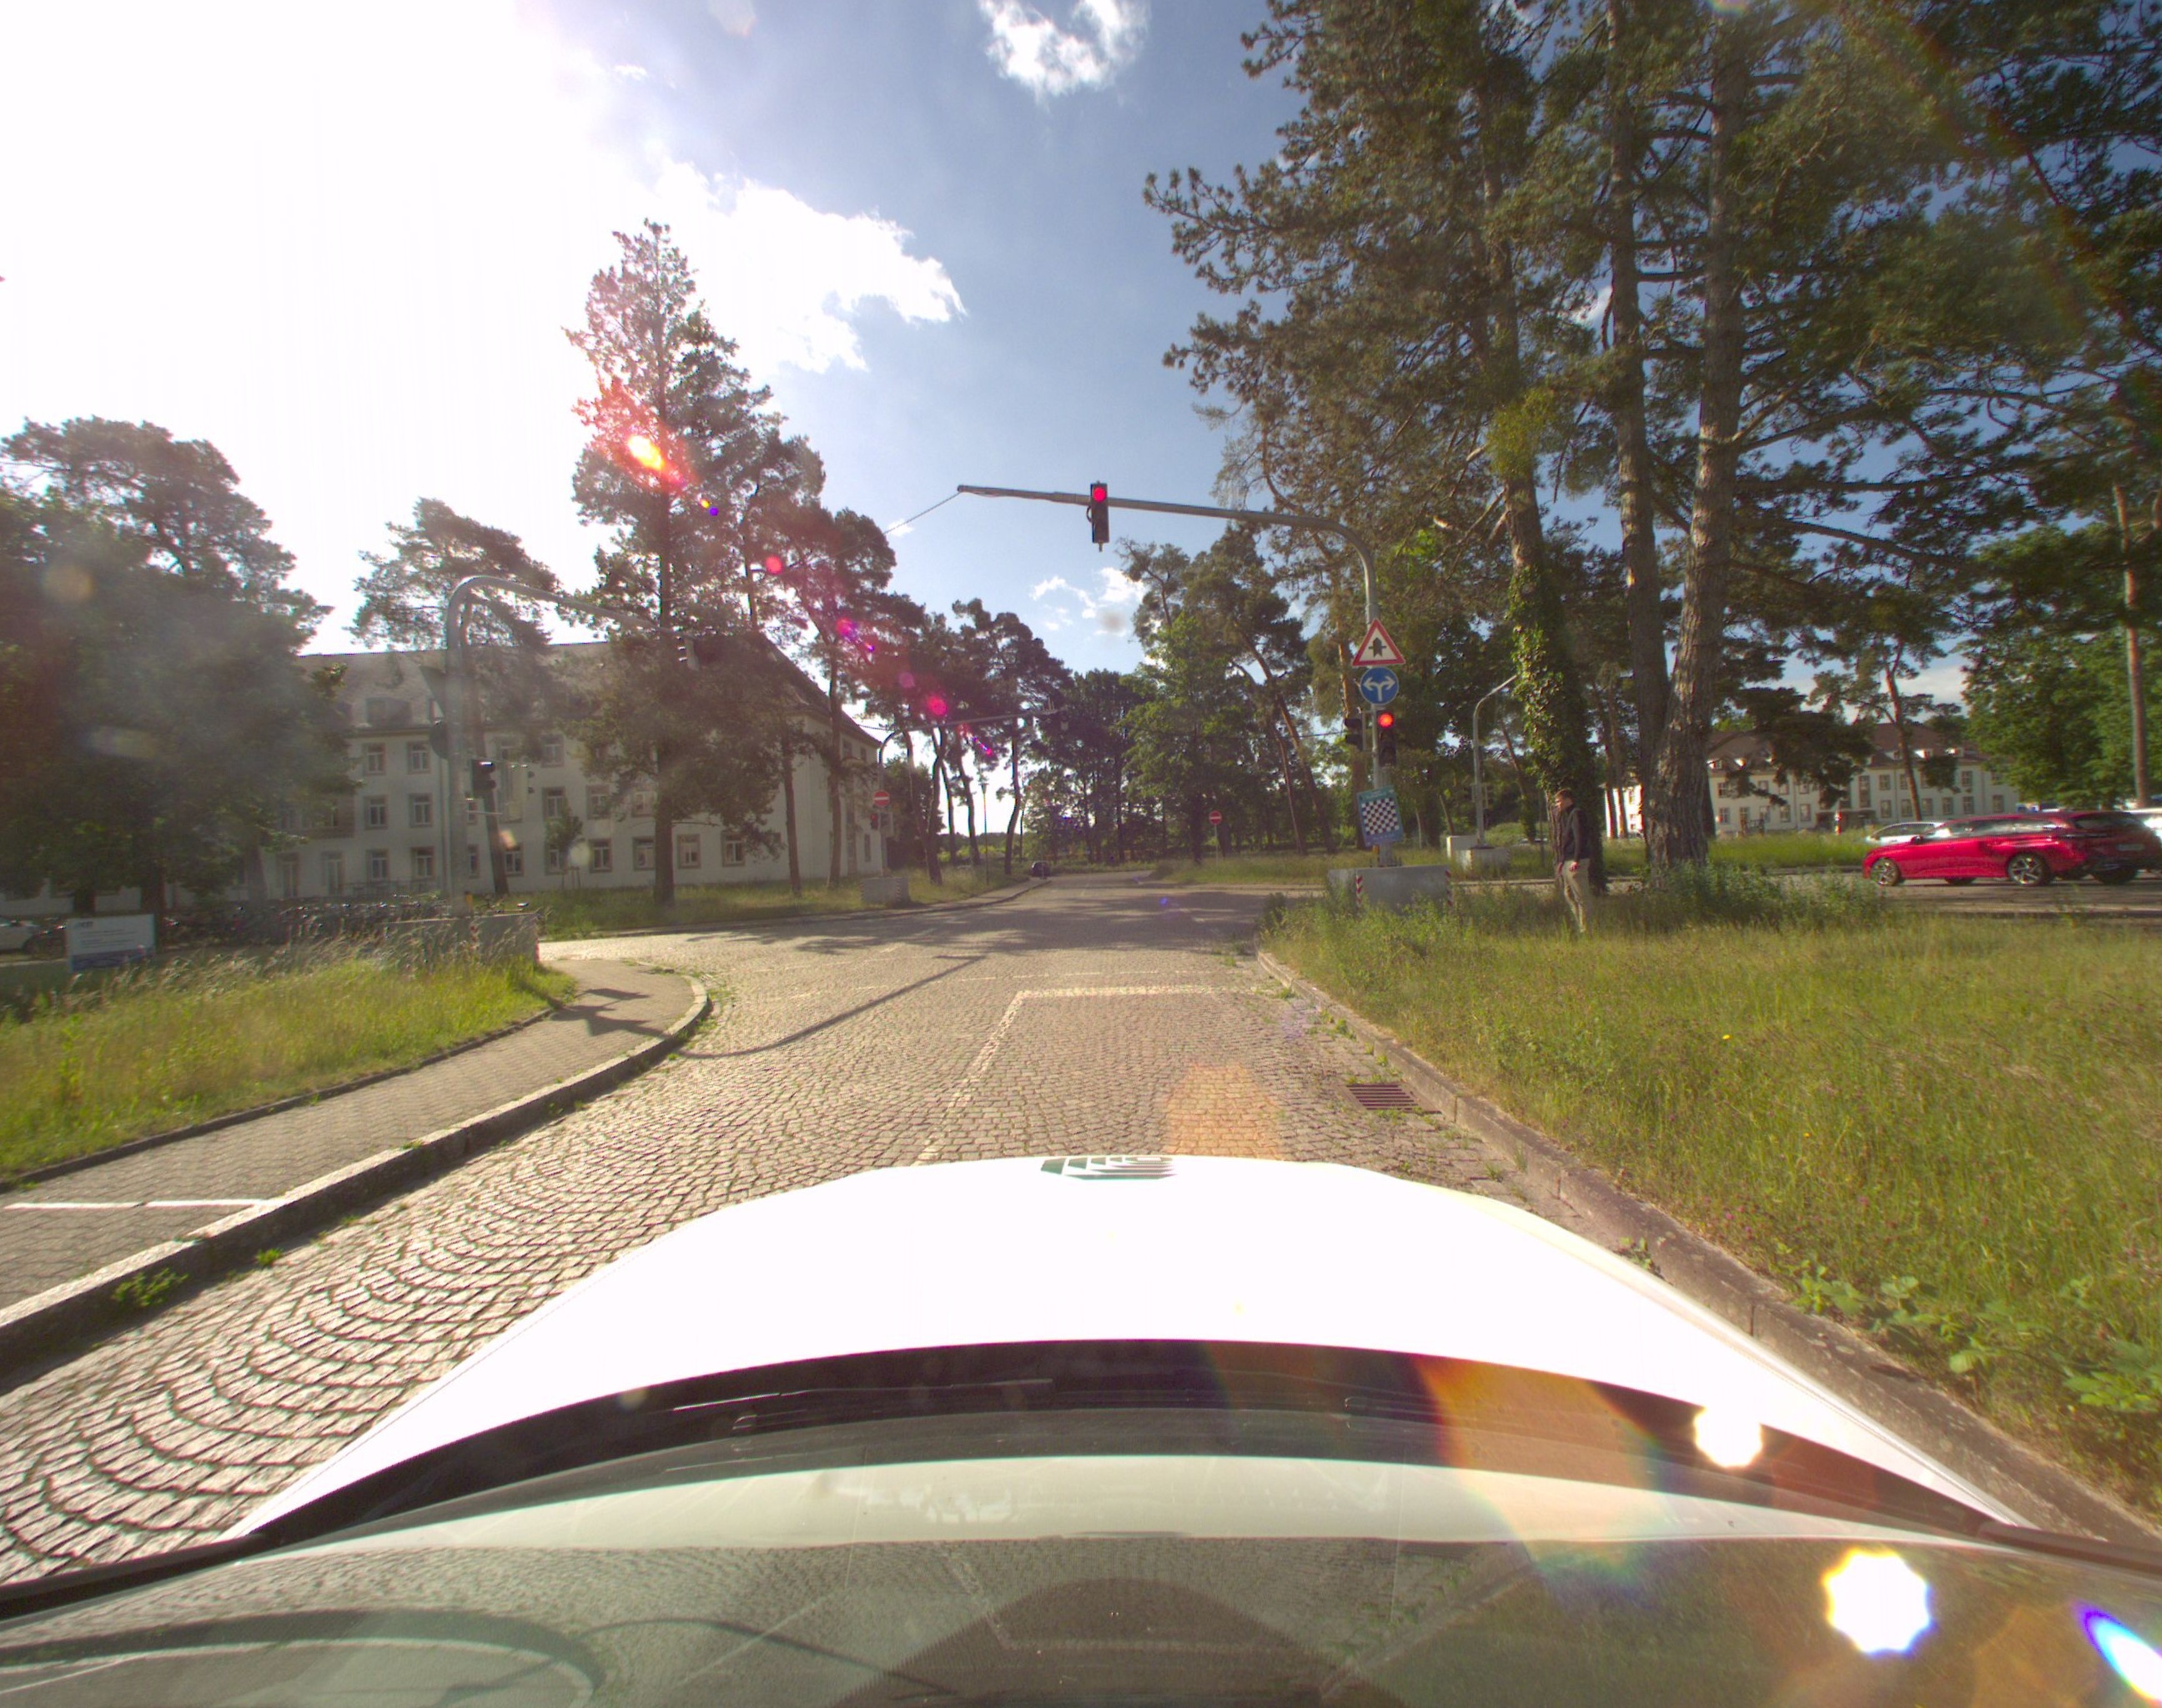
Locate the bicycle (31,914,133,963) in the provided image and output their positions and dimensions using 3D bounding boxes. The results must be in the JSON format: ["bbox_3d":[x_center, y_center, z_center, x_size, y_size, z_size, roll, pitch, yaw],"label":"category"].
[{"bbox_3d":[-29.115,2.441,23.771,0.509,1.220,1.841,-3,0,38],"label":"bicycle"}]

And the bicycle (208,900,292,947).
[{"bbox_3d":[-25.311,2.094,24.847,0.512,1.220,1.937,-3,0,1],"label":"bicycle"}]

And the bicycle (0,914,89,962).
[{"bbox_3d":[-31.059,2.490,24.408,0.513,1.220,1.824,-3,0,-7],"label":"bicycle"}]

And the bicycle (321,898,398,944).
[{"bbox_3d":[-21.965,2.004,24.835,0.512,1.220,1.977,-3,0,1],"label":"bicycle"}]

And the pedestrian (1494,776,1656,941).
[{"bbox_3d":[5.815,0.048,9.668,1.060,1.796,1.167,-3,0,-12],"label":"pedestrian"}]

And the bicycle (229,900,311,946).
[{"bbox_3d":[-24.701,2.077,24.856,0.512,1.220,1.937,-3,0,1],"label":"bicycle"}]

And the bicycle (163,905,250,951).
[{"bbox_3d":[-26.648,2.224,24.860,0.512,1.220,1.937,-3,0,1],"label":"bicycle"}]

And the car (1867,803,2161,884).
[{"bbox_3d":[18.789,-0.151,16.560,1.649,1.399,4.130,-2,-1,1],"label":"car"}]

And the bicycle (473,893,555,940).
[{"bbox_3d":[-16.312,1.790,23.443,1.855,1.220,0.635,-3,0,0],"label":"bicycle"}]

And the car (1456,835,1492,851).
[{"bbox_3d":[41.458,-1.151,86.023,1.820,1.582,4.163,-3,0,1],"label":"car"}]

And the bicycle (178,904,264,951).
[{"bbox_3d":[-26.200,2.211,24.852,0.512,1.220,1.937,-3,0,1],"label":"bicycle"}]

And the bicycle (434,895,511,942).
[{"bbox_3d":[-18.037,1.888,24.199,0.631,1.220,2.124,-3,0,1],"label":"bicycle"}]

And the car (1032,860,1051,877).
[{"bbox_3d":[-3.913,1.426,80.673,1.705,1.496,3.917,-3,0,-1],"label":"car"}]

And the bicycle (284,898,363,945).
[{"bbox_3d":[-23.009,2.027,24.799,0.512,1.220,1.954,-3,0,1],"label":"bicycle"}]

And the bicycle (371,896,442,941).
[{"bbox_3d":[-20.799,1.971,25.153,0.546,1.220,1.900,-3,0,1],"label":"bicycle"}]

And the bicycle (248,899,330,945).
[{"bbox_3d":[-24.109,2.059,24.836,0.512,1.220,1.937,-3,0,1],"label":"bicycle"}]

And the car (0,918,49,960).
[{"bbox_3d":[-34.079,2.709,24.426,1.504,1.211,3.596,-3,0,3],"label":"car"}]

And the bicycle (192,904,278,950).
[{"bbox_3d":[-25.771,2.199,24.851,0.512,1.220,1.937,-3,0,1],"label":"bicycle"}]

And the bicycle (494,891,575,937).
[{"bbox_3d":[-16.196,1.768,24.156,1.938,1.220,0.635,-3,0,0],"label":"bicycle"}]

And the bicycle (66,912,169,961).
[{"bbox_3d":[-28.005,2.369,23.711,1.837,1.220,0.510,-3,0,-35],"label":"bicycle"}]

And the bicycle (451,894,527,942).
[{"bbox_3d":[-17.554,1.873,24.206,0.631,1.220,2.114,-3,0,1],"label":"bicycle"}]

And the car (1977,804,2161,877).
[{"bbox_3d":[21.665,-0.281,16.727,1.773,1.379,4.239,-3,-2,0],"label":"car"}]

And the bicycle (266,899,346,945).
[{"bbox_3d":[-23.563,2.043,24.812,0.512,1.220,1.937,-3,0,1],"label":"bicycle"}]

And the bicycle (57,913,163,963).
[{"bbox_3d":[-27.616,2.362,23.201,1.837,1.220,0.510,-3,0,-35],"label":"bicycle"}]

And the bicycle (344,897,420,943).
[{"bbox_3d":[-21.317,1.986,24.880,0.512,1.220,2.016,-3,0,1],"label":"bicycle"}]

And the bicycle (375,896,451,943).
[{"bbox_3d":[-20.234,1.955,24.729,0.576,1.220,2.029,-3,0,1],"label":"bicycle"}]

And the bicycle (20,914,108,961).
[{"bbox_3d":[-30.453,2.473,24.422,0.514,1.220,1.823,-3,0,-9],"label":"bicycle"}]

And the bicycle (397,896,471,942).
[{"bbox_3d":[-19.489,1.932,24.597,0.570,1.220,1.990,-3,0,1],"label":"bicycle"}]

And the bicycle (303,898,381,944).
[{"bbox_3d":[-22.483,2.015,24.831,0.512,1.220,1.977,-3,0,1],"label":"bicycle"}]

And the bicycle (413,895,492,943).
[{"bbox_3d":[-18.641,1.906,24.208,0.631,1.220,2.104,-3,0,1],"label":"bicycle"}]
